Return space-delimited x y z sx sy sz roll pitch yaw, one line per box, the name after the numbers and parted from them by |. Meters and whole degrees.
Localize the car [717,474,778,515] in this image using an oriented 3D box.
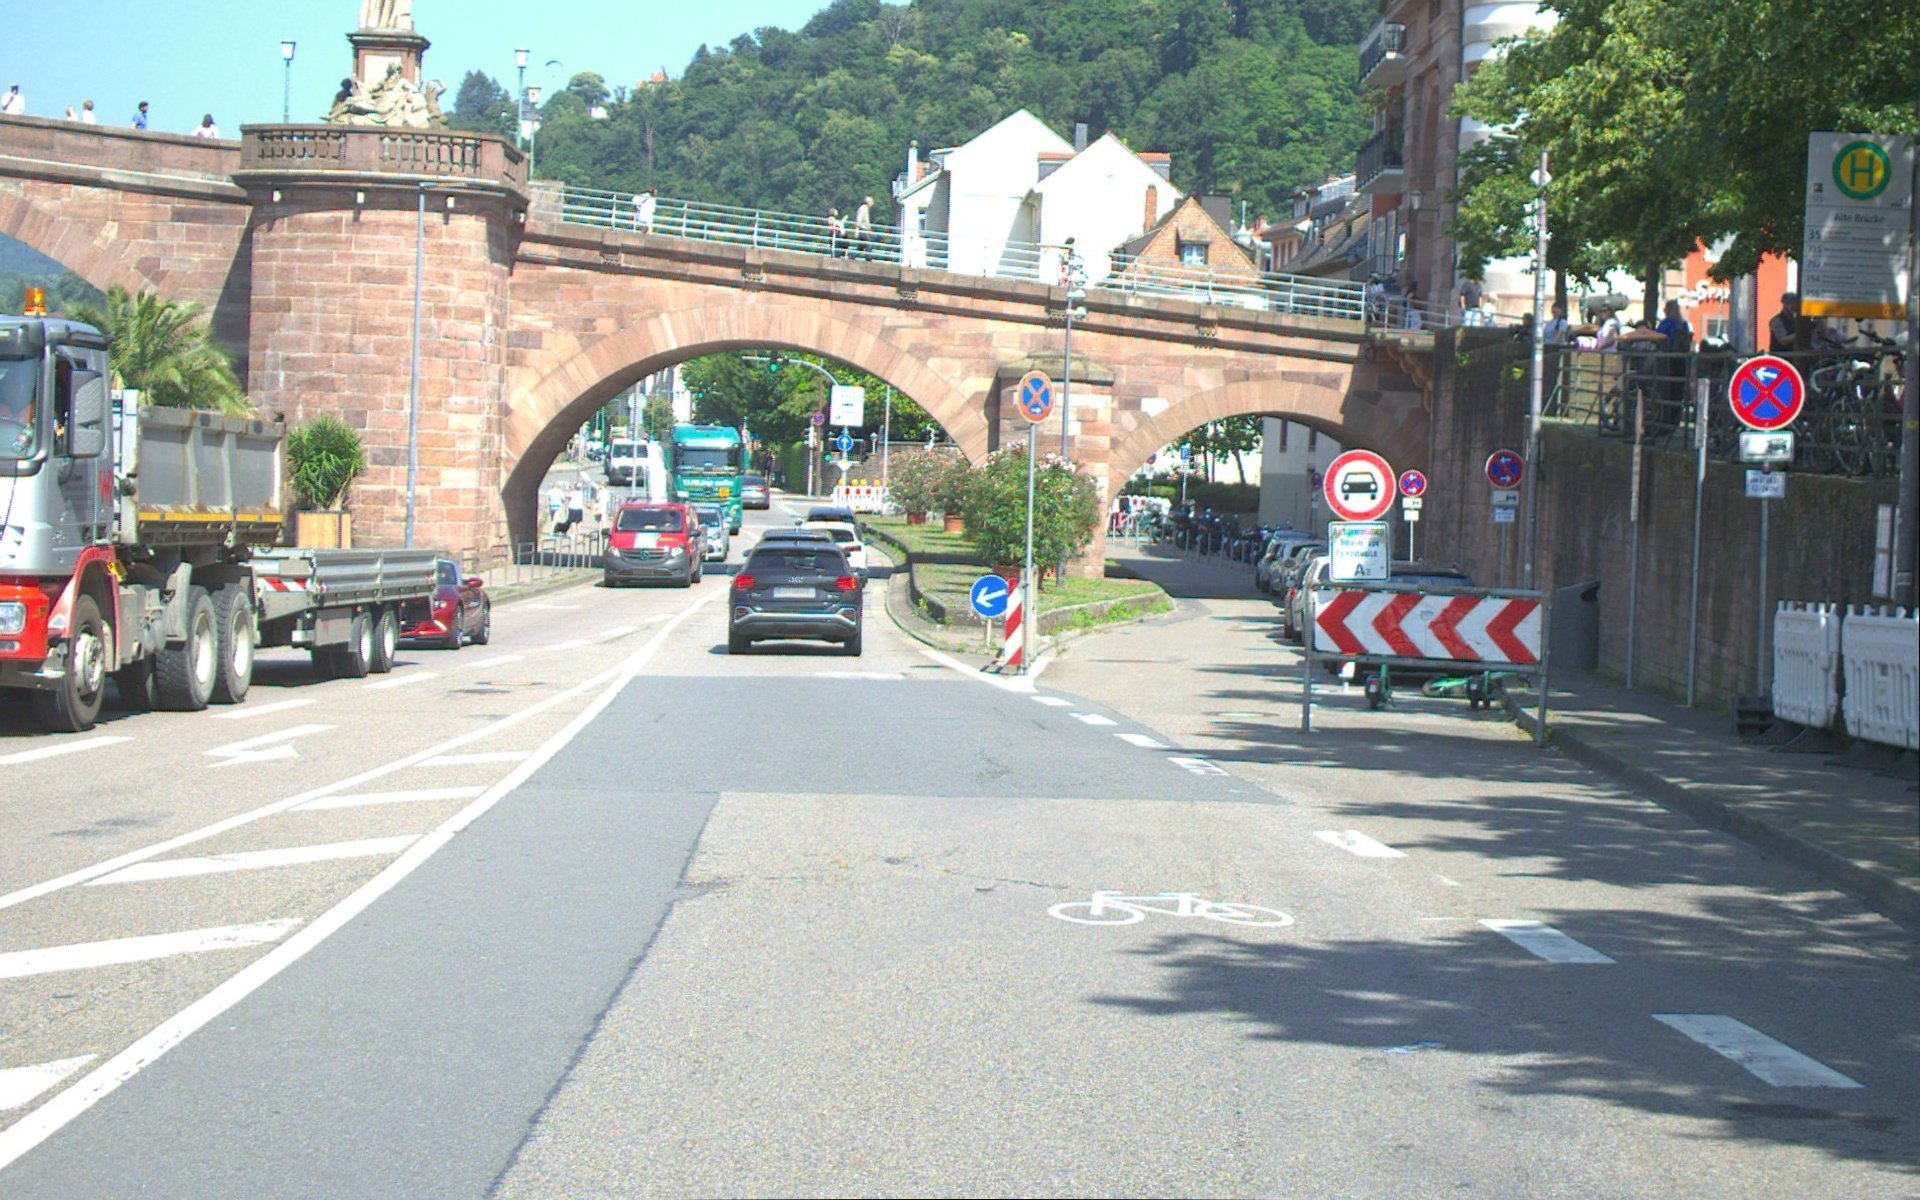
-8.910 -4.431 144.079 1.855 1.656 4.002 0 2 -14 | car

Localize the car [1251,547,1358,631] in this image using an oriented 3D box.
6.092 -0.224 60.404 1.711 1.383 4.406 1 1 8 | car

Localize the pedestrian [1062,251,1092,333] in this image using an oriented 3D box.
2.953 -7.746 86.581 0.684 2.007 0.586 1 1 -1 | pedestrian

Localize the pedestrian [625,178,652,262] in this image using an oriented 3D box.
-7.905 -9.347 84.597 0.581 2.007 0.586 1 1 -1 | pedestrian

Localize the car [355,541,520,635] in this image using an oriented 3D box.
-6.989 -0.191 46.252 1.671 1.190 3.629 0 1 0 | car

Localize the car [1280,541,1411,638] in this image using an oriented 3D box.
6.276 -0.198 56.318 1.711 1.452 3.548 2 1 0 | car

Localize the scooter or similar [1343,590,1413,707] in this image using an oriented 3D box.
4.061 0.459 33.345 0.532 1.086 1.438 2 1 12 | scooter or similar

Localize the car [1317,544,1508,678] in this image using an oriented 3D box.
5.406 0.085 41.533 1.843 1.445 4.534 2 1 3 | car

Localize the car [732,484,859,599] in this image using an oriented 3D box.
-2.990 -1.094 63.350 1.993 2.007 4.000 2 1 2 | car

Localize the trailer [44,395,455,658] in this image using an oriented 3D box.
-7.389 -0.756 36.749 2.697 2.522 6.947 1 1 2 | trailer

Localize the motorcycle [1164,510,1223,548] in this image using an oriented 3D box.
8.153 -2.470 119.953 2.191 1.262 0.628 0 3 -39 | motorcycle

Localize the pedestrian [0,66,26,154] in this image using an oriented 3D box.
-22.580 -11.645 81.721 0.623 2.007 0.695 1 1 -8 | pedestrian

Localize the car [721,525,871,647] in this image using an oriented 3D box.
-2.191 -0.224 46.782 1.857 1.518 4.000 1 1 -1 | car

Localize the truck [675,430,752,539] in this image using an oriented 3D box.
-8.676 -4.126 121.532 2.523 3.735 6.247 0 3 -2 | truck

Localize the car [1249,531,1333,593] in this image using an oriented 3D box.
8.749 -1.029 91.189 1.893 1.487 4.417 1 2 2 | car

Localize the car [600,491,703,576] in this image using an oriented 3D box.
-6.897 -1.523 77.250 1.874 1.821 4.544 1 2 0 | car

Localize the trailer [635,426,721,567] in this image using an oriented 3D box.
-6.775 -2.479 82.736 1.742 3.309 3.384 0 2 1 | trailer

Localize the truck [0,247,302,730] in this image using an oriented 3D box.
-7.678 -0.865 28.494 2.642 3.445 7.871 0 1 2 | truck

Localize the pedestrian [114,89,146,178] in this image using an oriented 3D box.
-19.655 -11.051 81.432 0.623 2.007 0.695 1 1 -8 | pedestrian

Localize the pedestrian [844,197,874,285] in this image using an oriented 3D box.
-2.395 -8.509 81.597 0.623 2.007 0.695 1 1 0 | pedestrian

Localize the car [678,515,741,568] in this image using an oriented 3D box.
-7.039 -1.660 96.997 1.534 1.432 3.728 1 2 -1 | car

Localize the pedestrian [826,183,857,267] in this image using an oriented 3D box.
-2.909 -9.217 84.561 0.684 2.007 0.586 1 1 -1 | pedestrian

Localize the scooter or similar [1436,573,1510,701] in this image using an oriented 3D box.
5.101 0.359 34.131 0.532 1.226 1.270 2 1 16 | scooter or similar
